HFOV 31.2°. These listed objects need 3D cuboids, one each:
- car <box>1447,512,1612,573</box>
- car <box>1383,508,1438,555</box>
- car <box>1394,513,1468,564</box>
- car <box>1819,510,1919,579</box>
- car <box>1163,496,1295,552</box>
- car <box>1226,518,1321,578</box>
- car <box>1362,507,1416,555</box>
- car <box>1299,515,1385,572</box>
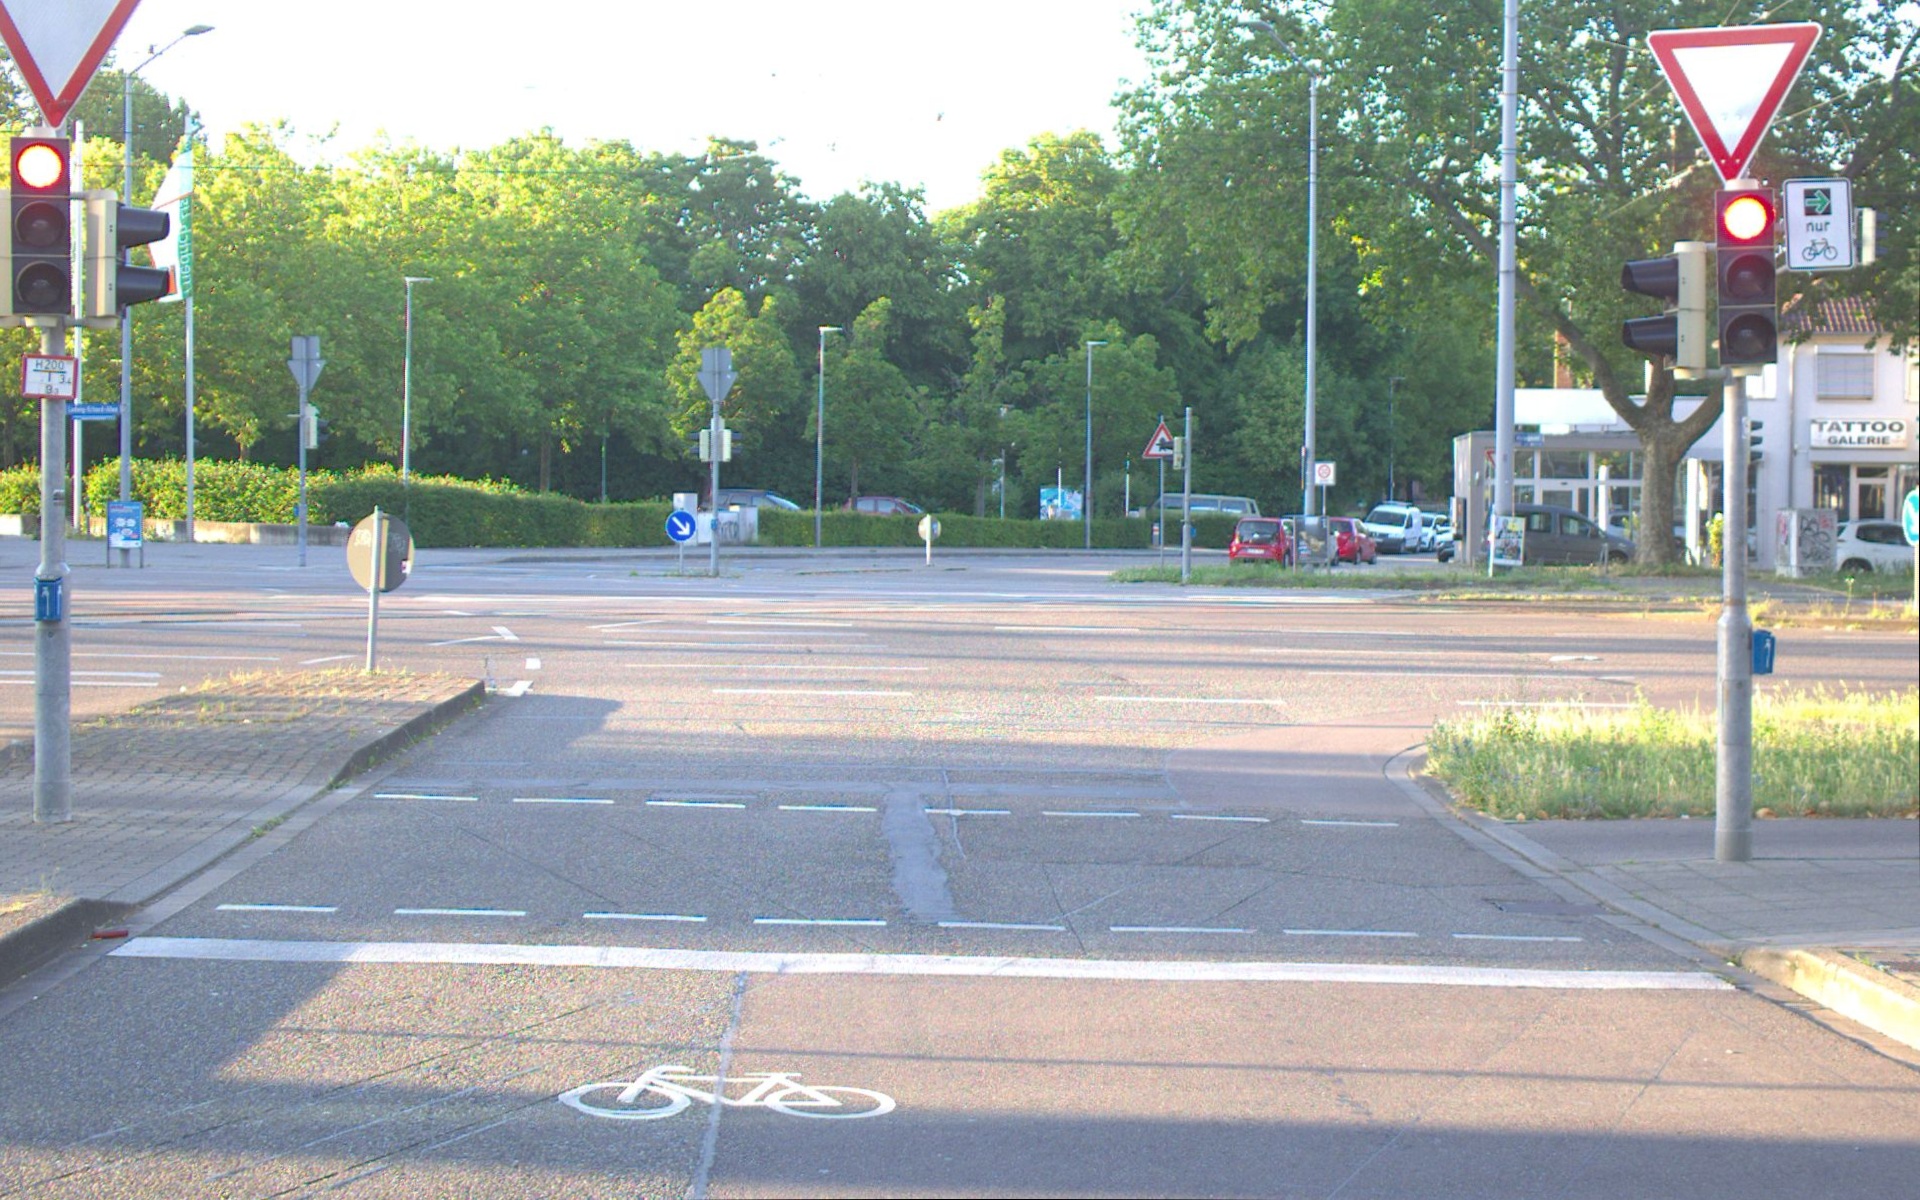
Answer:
[{"bbox_3d":[15.039,-1.513,90.968,4.220,1.547,1.999,1,1,7],"label":"car"},{"bbox_3d":[18.076,-2.740,137.876,1.864,1.788,3.998,1,1,12],"label":"car"},{"bbox_3d":[16.086,-2.084,117.395,1.995,1.656,3.997,1,1,15],"label":"car"},{"bbox_3d":[20.493,-1.176,74.039,3.741,1.435,1.663,1,0,10],"label":"car"},{"bbox_3d":[9.964,-2.807,127.677,4.774,1.999,2.000,1,0,2],"label":"car"},{"bbox_3d":[8.911,-1.459,97.496,1.995,1.656,3.997,1,1,15],"label":"car"},{"bbox_3d":[16.615,-2.664,132.983,1.864,1.788,3.998,1,1,10],"label":"car"},{"bbox_3d":[11.703,-1.716,105.178,1.995,1.656,3.997,1,1,15],"label":"car"}]
